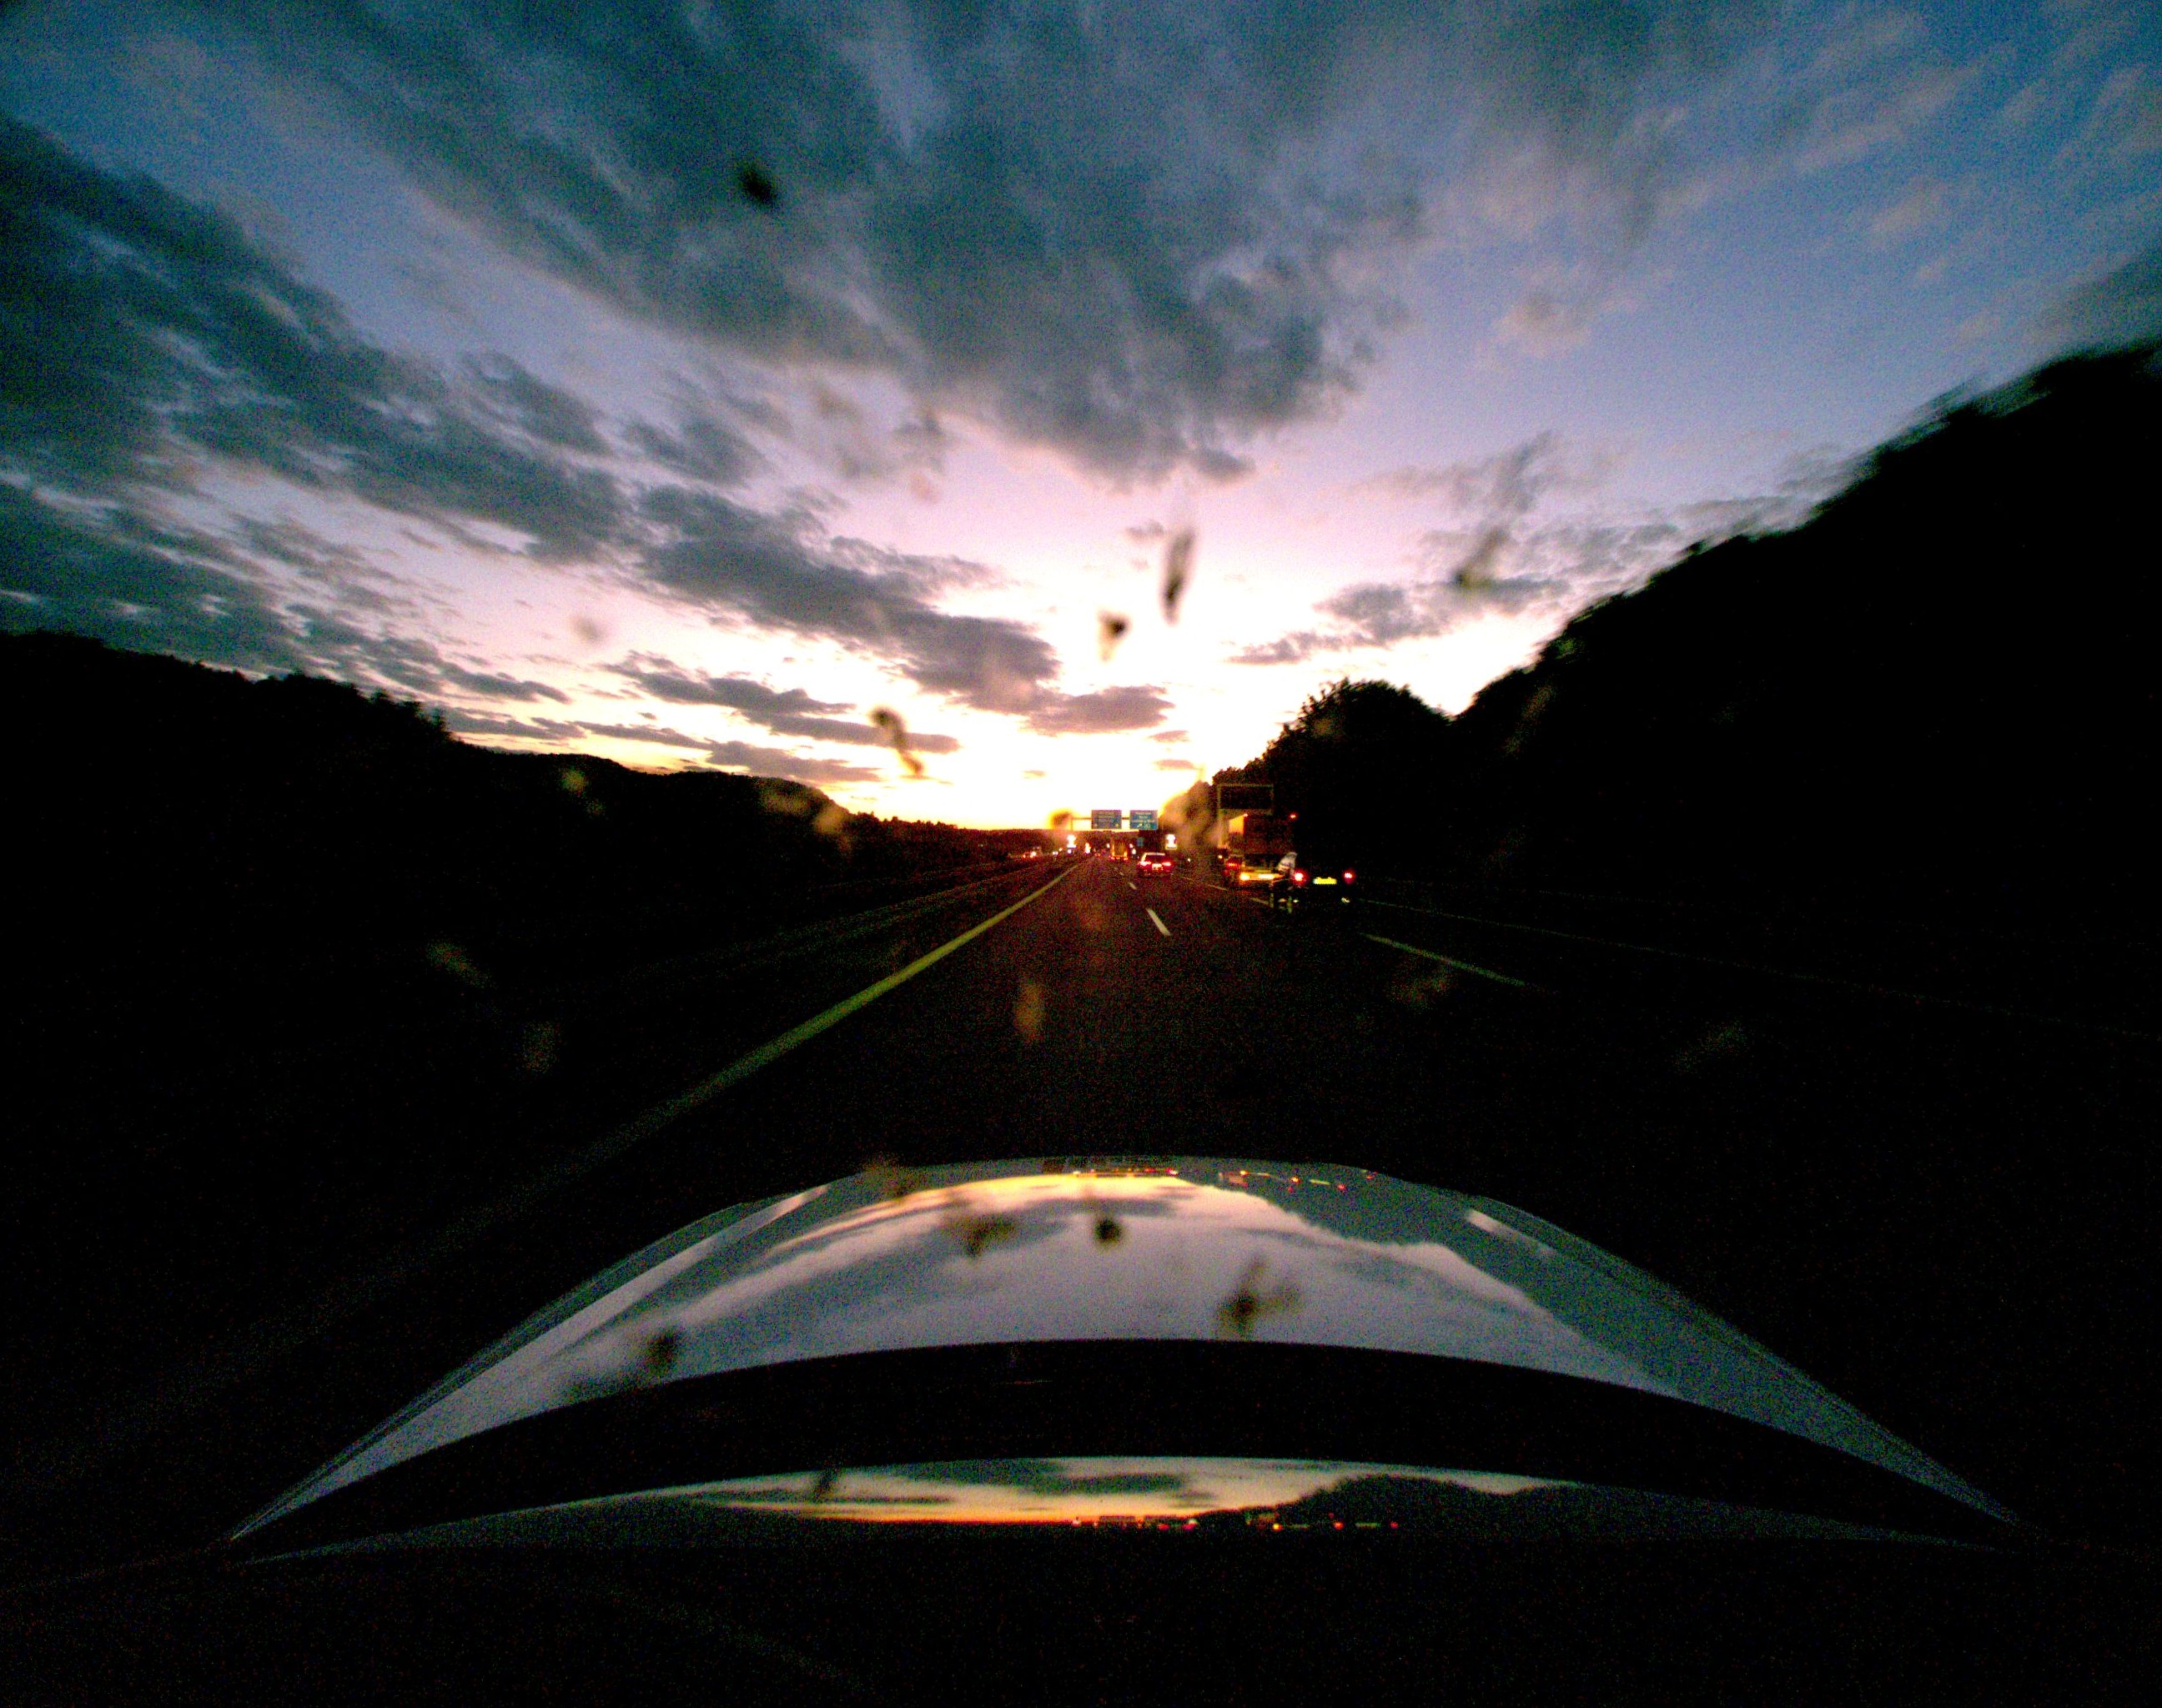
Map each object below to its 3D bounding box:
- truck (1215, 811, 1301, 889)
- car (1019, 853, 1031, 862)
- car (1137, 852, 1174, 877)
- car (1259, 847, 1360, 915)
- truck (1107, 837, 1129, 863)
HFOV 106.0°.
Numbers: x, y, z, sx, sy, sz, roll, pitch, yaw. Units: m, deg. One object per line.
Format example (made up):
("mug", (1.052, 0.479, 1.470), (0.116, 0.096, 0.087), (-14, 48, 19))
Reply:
("truck", (7.462, -0.156, 35.167), (2.261, 2.971, 6.632), (2, 0, 1))
("car", (-9.465, 0.630, 138.862), (1.707, 1.605, 3.722), (0, 0, 1))
("car", (4.375, 0.626, 48.253), (1.908, 1.442, 4.001), (0, 0, 1))
("car", (5.641, 0.636, 20.463), (1.605, 1.556, 3.318), (0, 0, 0))
("truck", (6.470, -0.637, 142.857), (3.498, 4.301, 9.892), (0, 0, 1))
